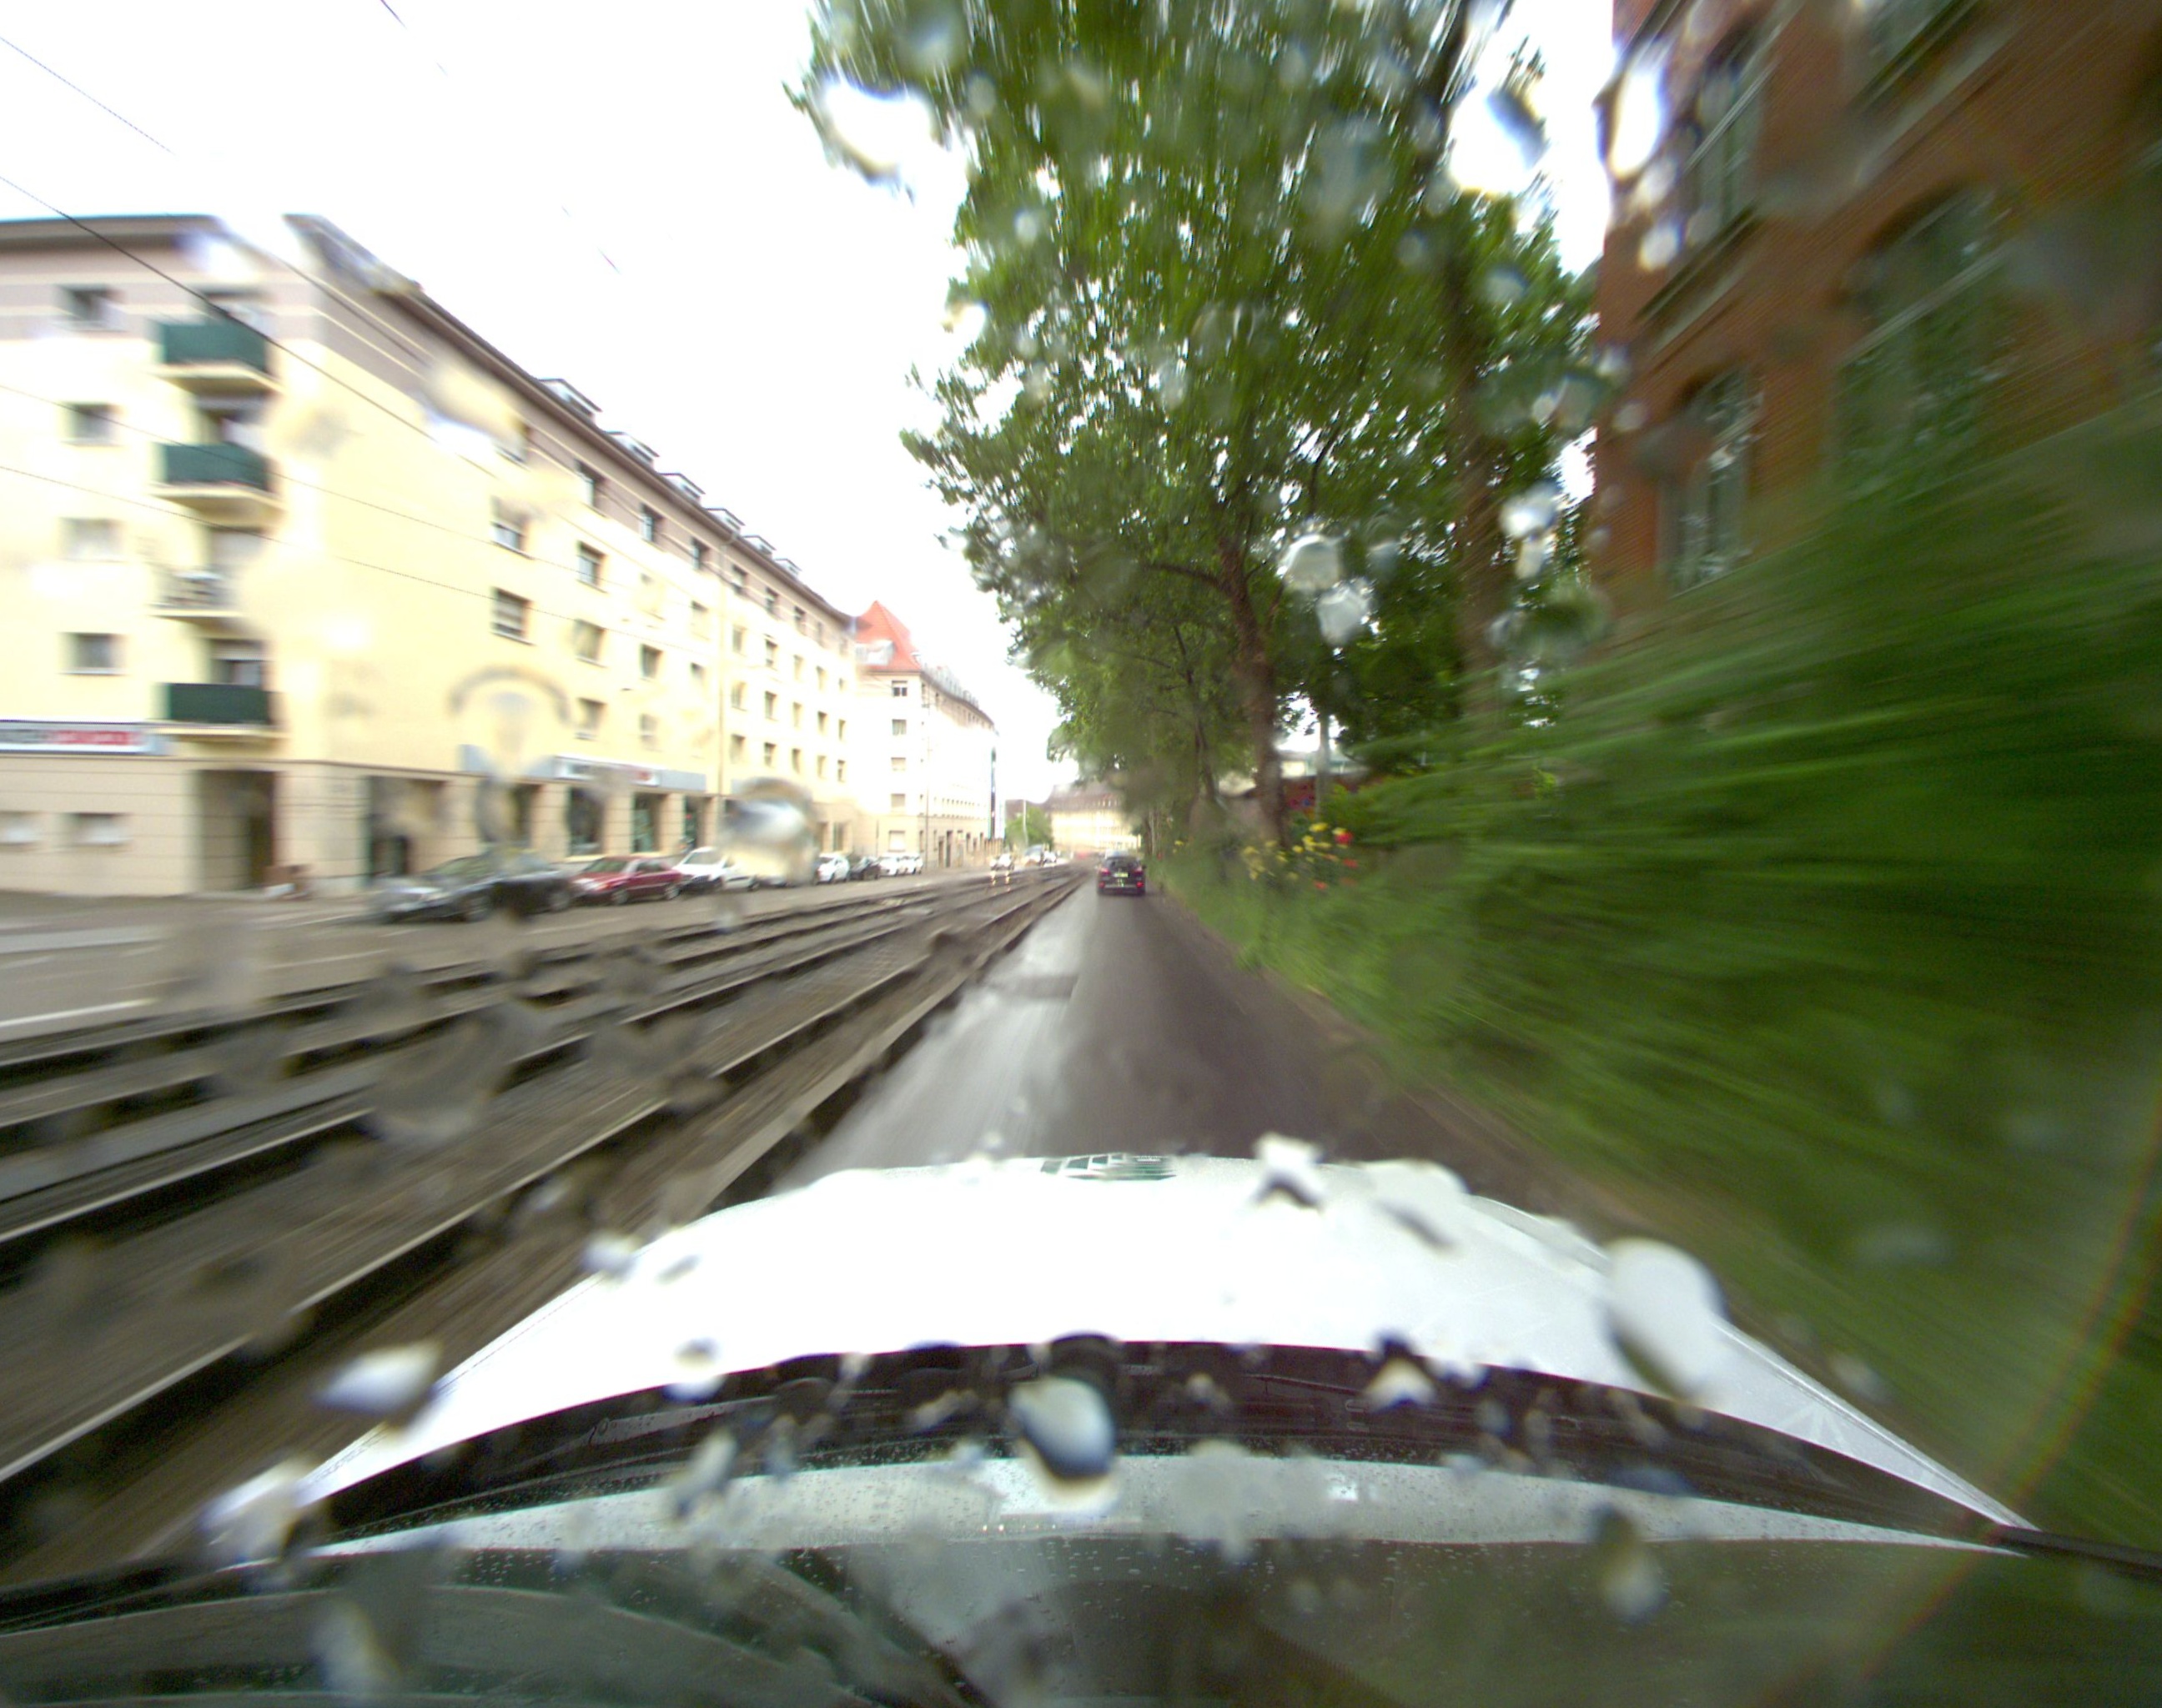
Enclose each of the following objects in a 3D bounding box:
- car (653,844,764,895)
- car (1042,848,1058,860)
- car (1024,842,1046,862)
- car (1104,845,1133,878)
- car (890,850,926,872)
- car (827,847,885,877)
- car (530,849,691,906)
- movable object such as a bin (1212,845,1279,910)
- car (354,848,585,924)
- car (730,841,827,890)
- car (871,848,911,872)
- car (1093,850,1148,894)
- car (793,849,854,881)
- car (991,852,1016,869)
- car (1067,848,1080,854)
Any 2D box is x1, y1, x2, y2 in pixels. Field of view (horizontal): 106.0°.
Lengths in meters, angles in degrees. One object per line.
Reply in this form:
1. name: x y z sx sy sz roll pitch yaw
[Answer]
1. car: -13.808 0.506 30.488 1.859 1.716 4.465 1 1 4
2. car: -4.632 -0.023 121.381 1.872 1.485 4.859 1 3 3
3. car: -5.771 -0.230 102.968 1.985 2.451 6.004 1 0 3
4. car: 2.433 0.434 53.320 1.734 2.013 3.905 1 1 1
5. car: -12.468 0.469 58.794 1.702 1.449 3.542 3 1 0
6. car: -12.819 0.430 46.658 1.806 1.498 4.586 2 2 2
7. car: -14.049 0.643 24.730 1.844 1.432 4.836 2 1 3
8. movable object such as a bin: 3.942 0.547 19.442 1.389 1.452 1.222 -1 2 18
9. car: -14.137 0.642 19.303 1.847 1.508 4.987 1 1 -3
10. car: -13.420 0.434 36.614 1.985 1.904 5.465 2 2 3
11. car: -12.604 0.382 54.238 1.698 1.396 3.935 2 2 0
12. car: 1.449 0.647 31.156 1.926 1.452 4.319 2 1 1
13. car: -13.119 0.531 41.706 1.685 1.439 4.050 -4 0 1
14. car: -7.287 0.625 76.839 1.704 1.462 4.286 0 1 4
15. car: -2.016 -0.849 213.924 2.003 1.542 3.969 -1 2 -24
